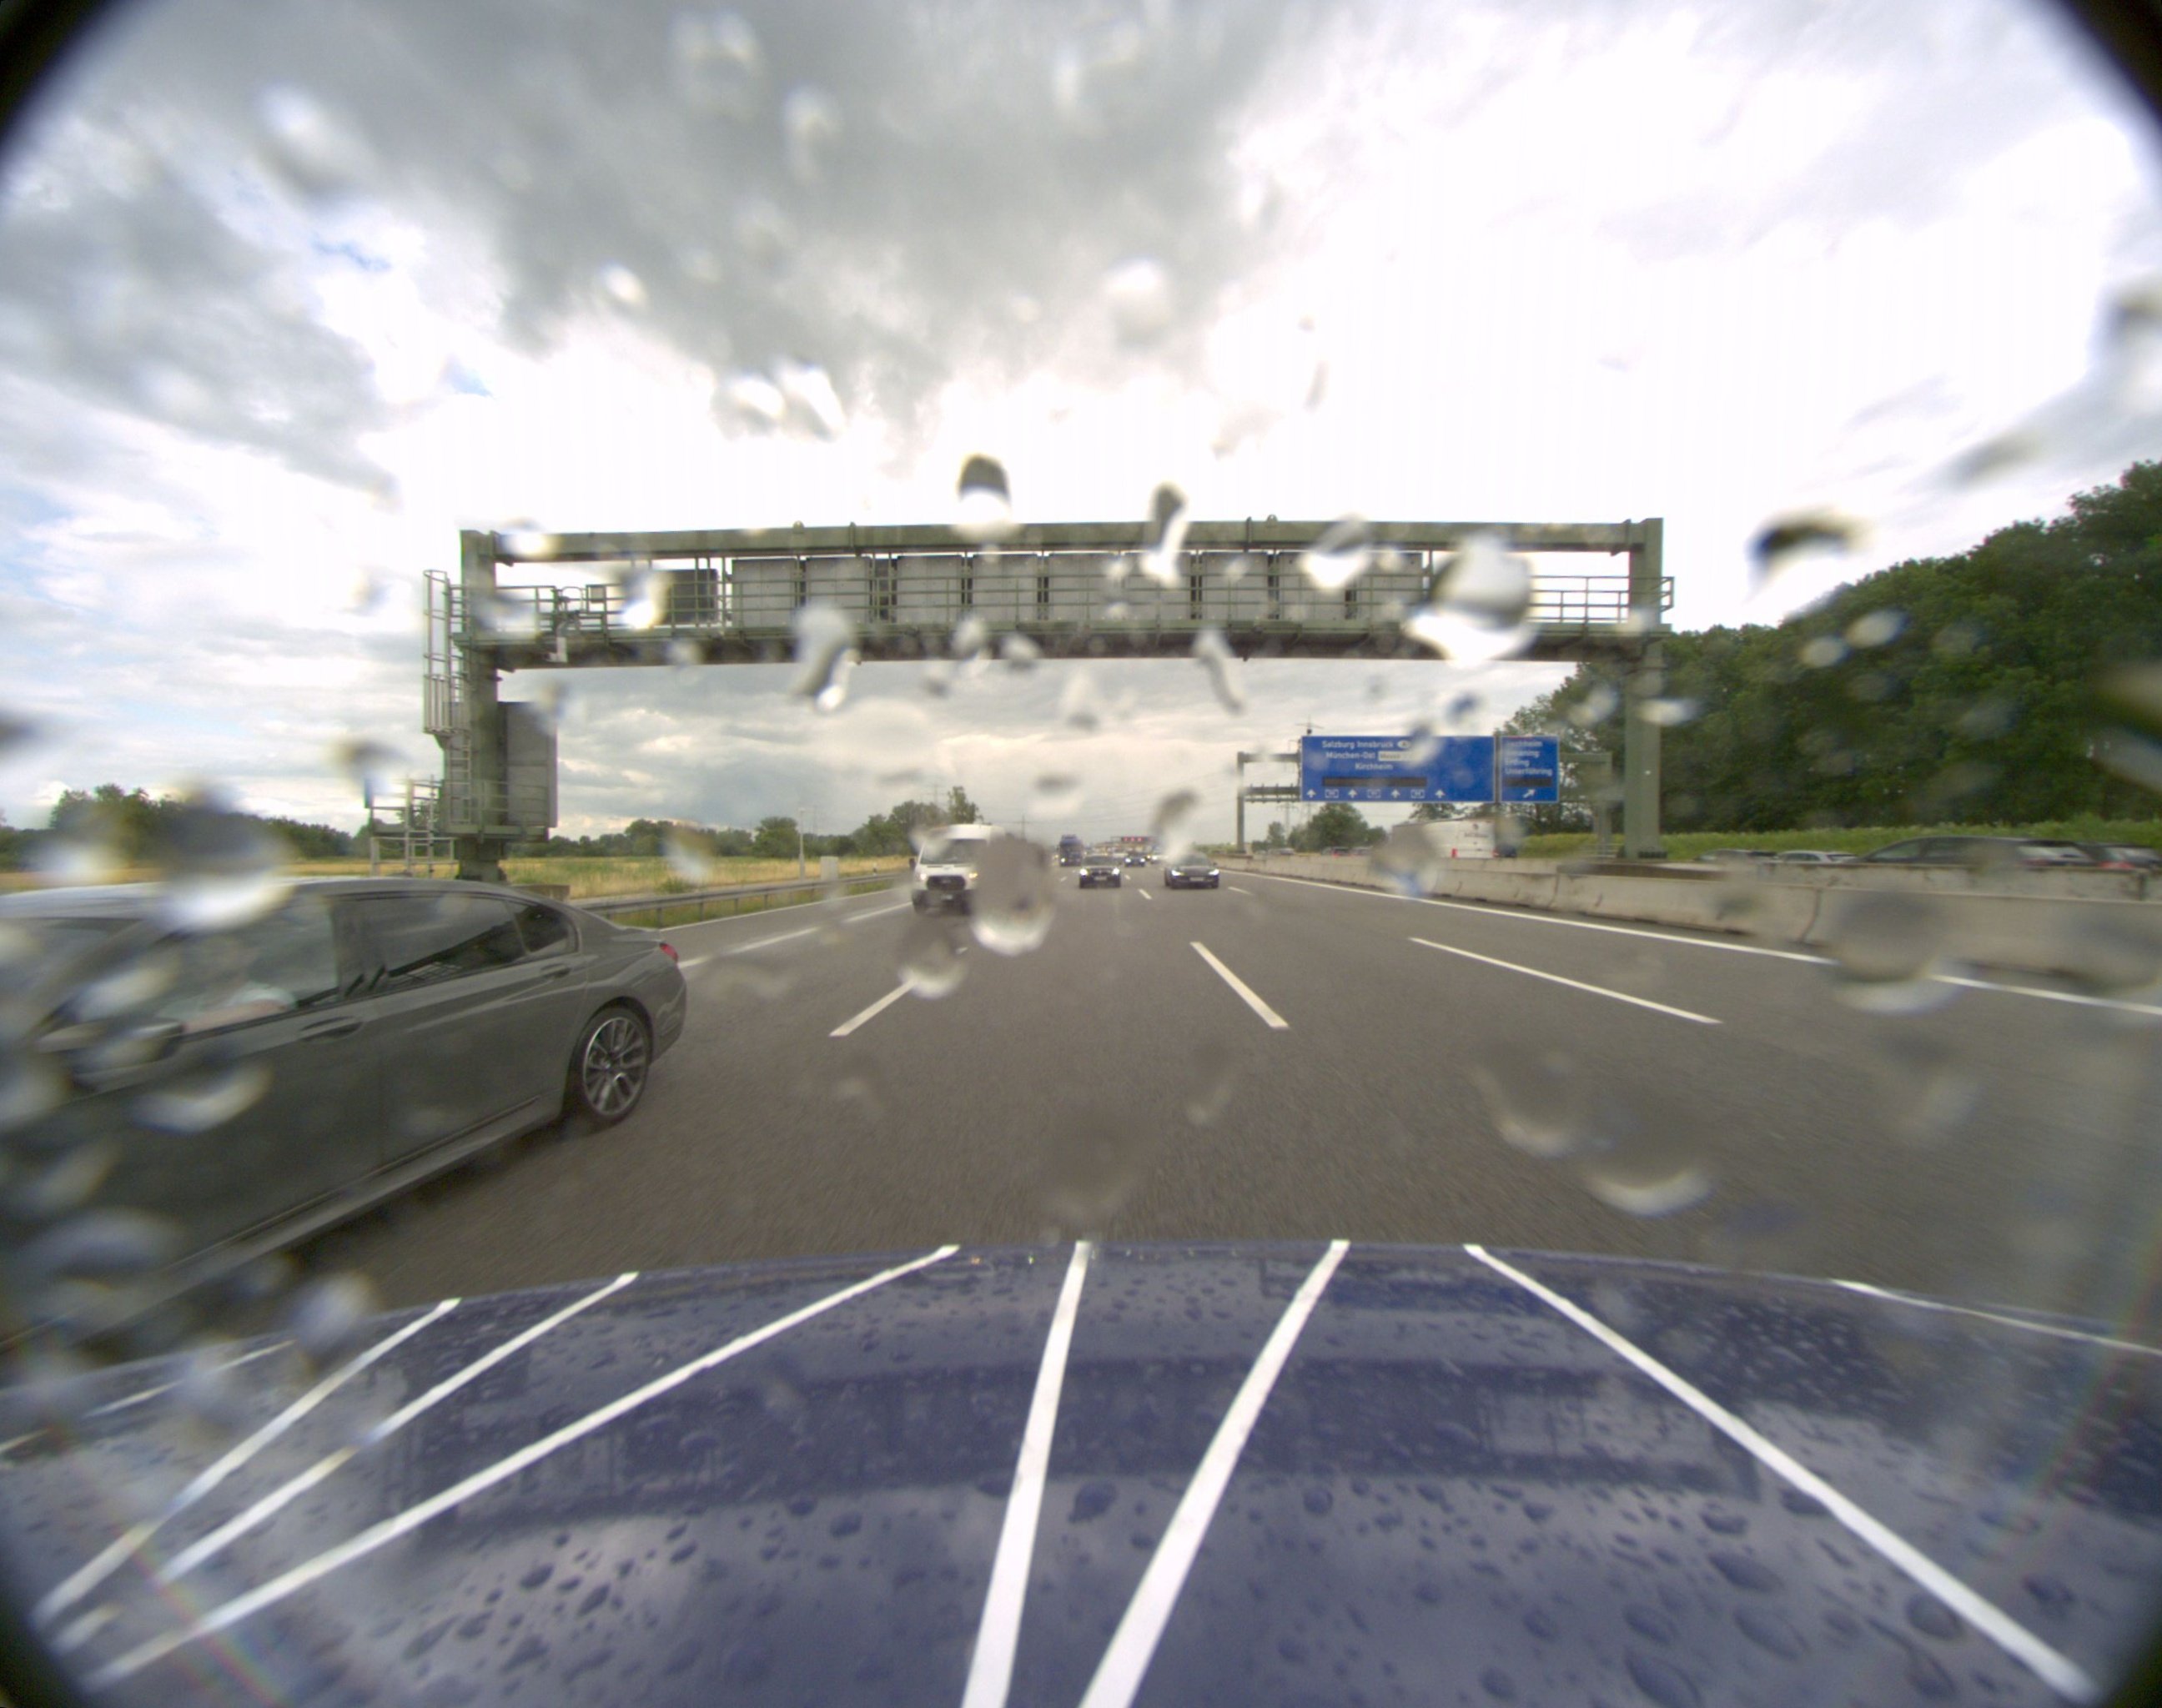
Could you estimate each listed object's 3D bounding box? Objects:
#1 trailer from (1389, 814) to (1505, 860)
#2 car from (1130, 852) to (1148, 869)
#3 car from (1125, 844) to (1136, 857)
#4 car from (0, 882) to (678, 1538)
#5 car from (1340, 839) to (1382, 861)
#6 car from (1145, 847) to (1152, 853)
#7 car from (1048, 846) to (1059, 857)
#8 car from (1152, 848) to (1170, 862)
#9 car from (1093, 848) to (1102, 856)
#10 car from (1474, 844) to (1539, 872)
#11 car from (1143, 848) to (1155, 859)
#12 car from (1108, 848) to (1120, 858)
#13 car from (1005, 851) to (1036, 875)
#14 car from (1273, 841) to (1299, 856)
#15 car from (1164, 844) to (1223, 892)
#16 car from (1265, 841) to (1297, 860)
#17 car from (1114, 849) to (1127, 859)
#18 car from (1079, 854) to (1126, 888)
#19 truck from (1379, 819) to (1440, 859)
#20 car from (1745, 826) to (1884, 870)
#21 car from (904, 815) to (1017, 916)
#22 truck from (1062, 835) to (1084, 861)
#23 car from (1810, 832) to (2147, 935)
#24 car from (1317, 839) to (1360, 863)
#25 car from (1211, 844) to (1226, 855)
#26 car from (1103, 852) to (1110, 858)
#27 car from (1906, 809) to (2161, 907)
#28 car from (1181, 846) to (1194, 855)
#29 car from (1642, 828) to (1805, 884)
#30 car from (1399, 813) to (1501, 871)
[{"bbox_3d":[30.953,-1.353,65.408,3.117,3.487,14.451,-1,1,1],"label":"trailer"},{"bbox_3d":[5.669,0.617,74.337,1.710,1.562,4.347,-1,1,5],"label":"car"},{"bbox_3d":[10.485,-0.756,159.180,2.144,2.486,5.449,-1,1,5],"label":"car"},{"bbox_3d":[-3.653,0.968,2.551,1.944,1.482,4.775,-1,1,1],"label":"car"},{"bbox_3d":[22.859,-0.321,62.115,1.998,1.717,4.017,-1,1,1],"label":"car"},{"bbox_3d":[21.872,-1.293,246.935,1.824,1.721,3.999,-1,1,0],"label":"car"},{"bbox_3d":[-5.012,-0.437,138.099,1.836,2.002,3.862,-1,1,0],"label":"car"},{"bbox_3d":[9.408,0.098,89.768,1.822,1.565,4.000,-1,1,2],"label":"car"},{"bbox_3d":[3.736,-0.425,169.830,1.998,1.810,5.163,-1,1,2],"label":"car"},{"bbox_3d":[27.402,0.214,49.073,1.998,1.696,4.000,-1,1,1],"label":"car"},{"bbox_3d":[10.153,-0.068,112.877,1.710,1.621,4.001,-1,1,5],"label":"car"},{"bbox_3d":[6.219,-0.178,143.219,1.998,1.810,5.162,-1,1,1],"label":"car"},{"bbox_3d":[-4.308,0.593,54.800,1.999,1.632,4.629,-1,0,-2],"label":"car"},{"bbox_3d":[23.684,-0.667,87.956,1.998,1.717,4.017,-1,1,1],"label":"car"},{"bbox_3d":[4.546,0.510,31.372,1.998,1.810,5.163,-1,1,4],"label":"car"},{"bbox_3d":[19.038,-0.308,72.527,1.998,1.717,4.017,-1,1,1],"label":"car"},{"bbox_3d":[5.923,-0.028,114.300,1.806,1.424,3.999,-1,1,0],"label":"car"},{"bbox_3d":[0.955,0.704,33.729,1.922,1.407,4.000,-1,0,2],"label":"car"},{"bbox_3d":[31.056,-1.393,72.135,3.143,3.487,6.100,-1,1,1],"label":"truck"},{"bbox_3d":[29.767,-0.256,31.035,1.873,1.622,4.000,-1,1,1],"label":"car"},{"bbox_3d":[-3.238,0.264,21.649,2.145,2.486,5.448,-1,1,2],"label":"car"},{"bbox_3d":[-0.862,-0.689,85.548,2.391,2.726,6.593,-1,1,0],"label":"truck"},{"bbox_3d":[17.965,0.506,15.629,1.709,1.783,4.429,-1,1,0],"label":"car"},{"bbox_3d":[18.615,-0.255,55.097,1.873,1.648,4.000,-1,1,1],"label":"car"},{"bbox_3d":[24.151,-0.800,133.465,1.998,1.717,4.017,-1,1,2],"label":"car"},{"bbox_3d":[7.364,0.204,222.562,1.998,1.801,4.273,-1,1,1],"label":"car"},{"bbox_3d":[22.245,0.054,17.564,1.998,2.002,3.999,-1,1,0],"label":"car"},{"bbox_3d":[20.083,-0.733,143.196,1.785,1.687,4.501,-1,1,-2],"label":"car"},{"bbox_3d":[25.439,0.044,30.422,1.998,2.002,5.403,-1,1,1],"label":"car"},{"bbox_3d":[18.128,-0.558,37.756,1.998,2.601,6.342,-1,1,1],"label":"car"}]
